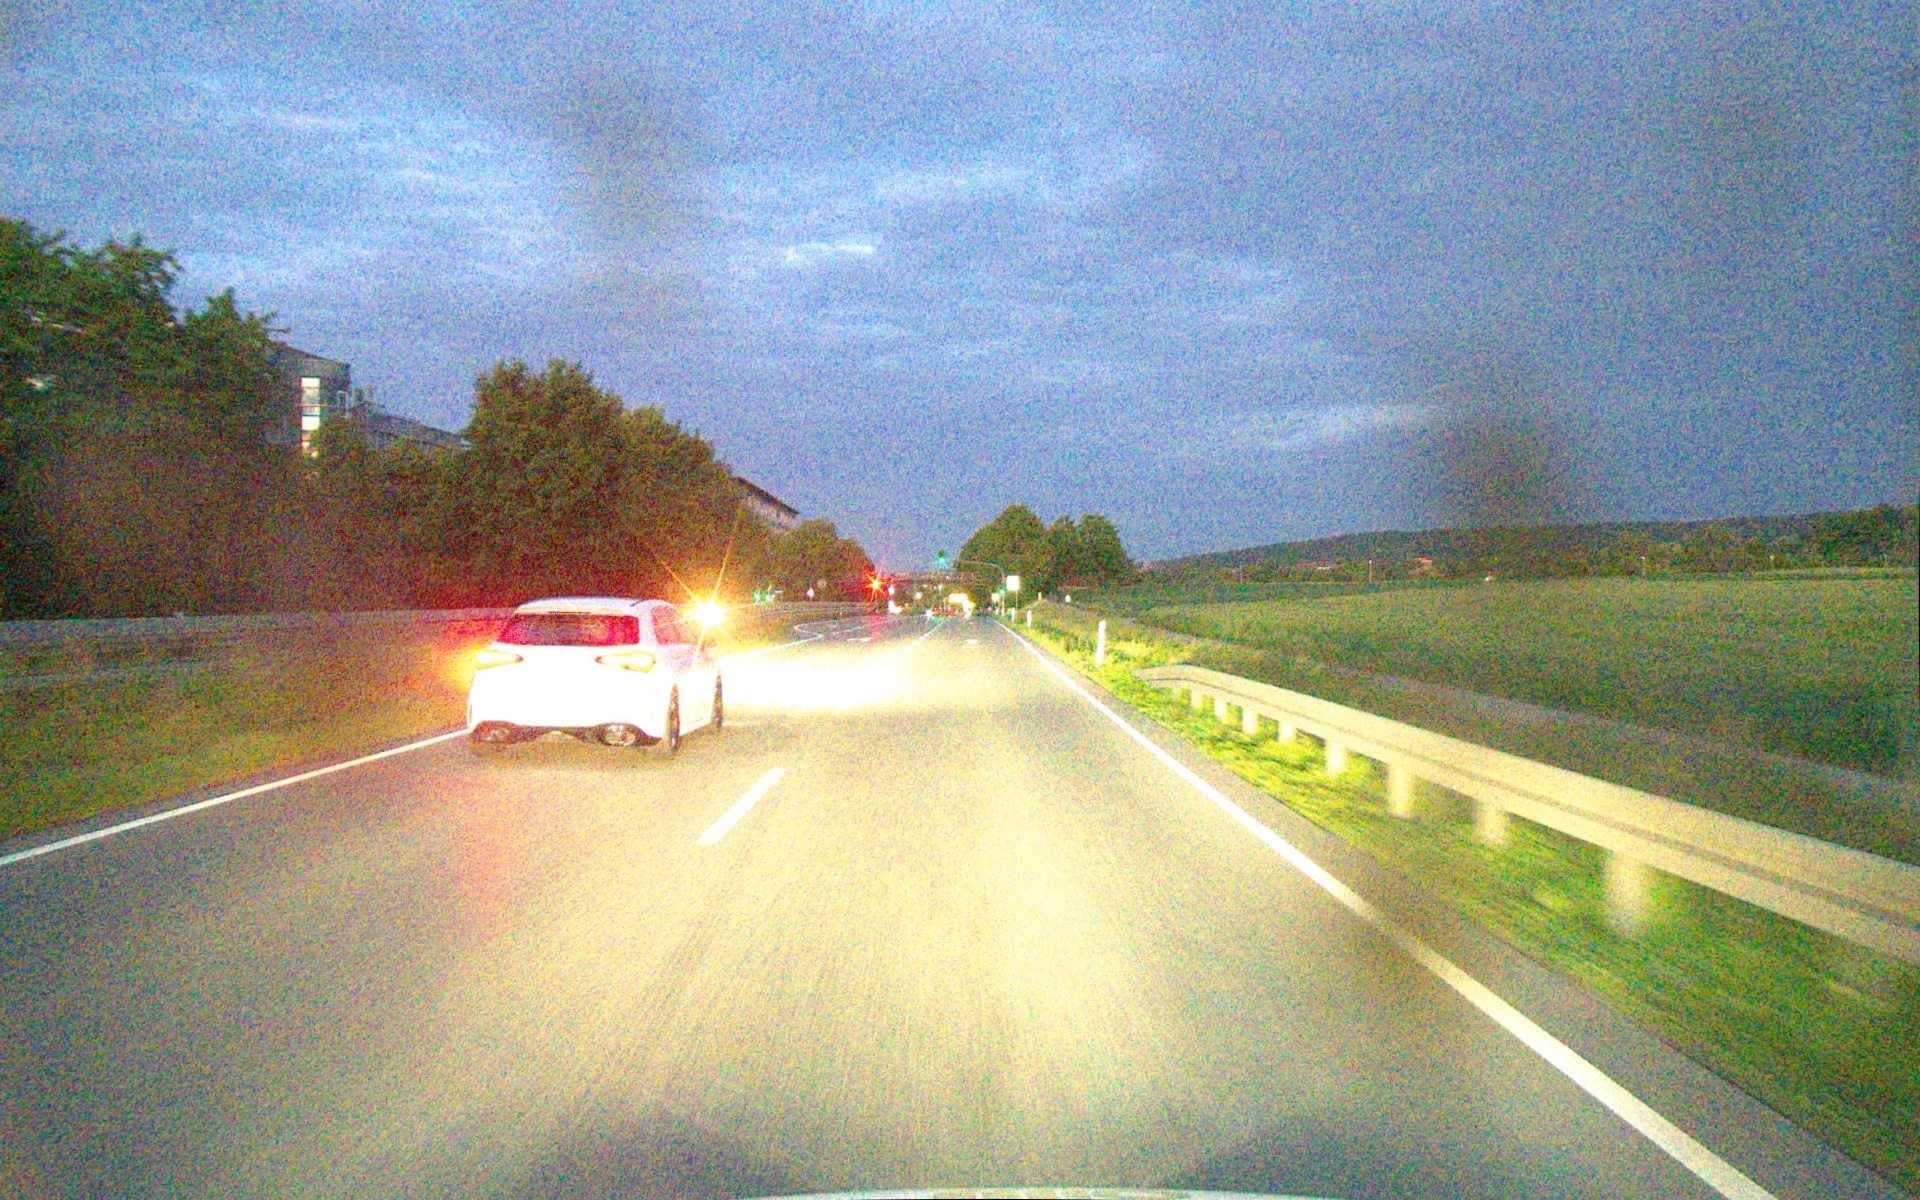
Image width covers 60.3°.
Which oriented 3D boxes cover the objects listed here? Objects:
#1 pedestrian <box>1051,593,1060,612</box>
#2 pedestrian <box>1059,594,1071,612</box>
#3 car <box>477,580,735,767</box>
[{"bbox_3d":[9.729,0.256,168.686,0.903,1.824,1.106,1,0,0],"label":"pedestrian"},{"bbox_3d":[10.738,0.303,168.729,1.068,1.753,1.260,1,-1,-1],"label":"pedestrian"},{"bbox_3d":[-3.238,0.606,15.979,1.609,1.516,4.578,1,0,-2],"label":"car"}]
